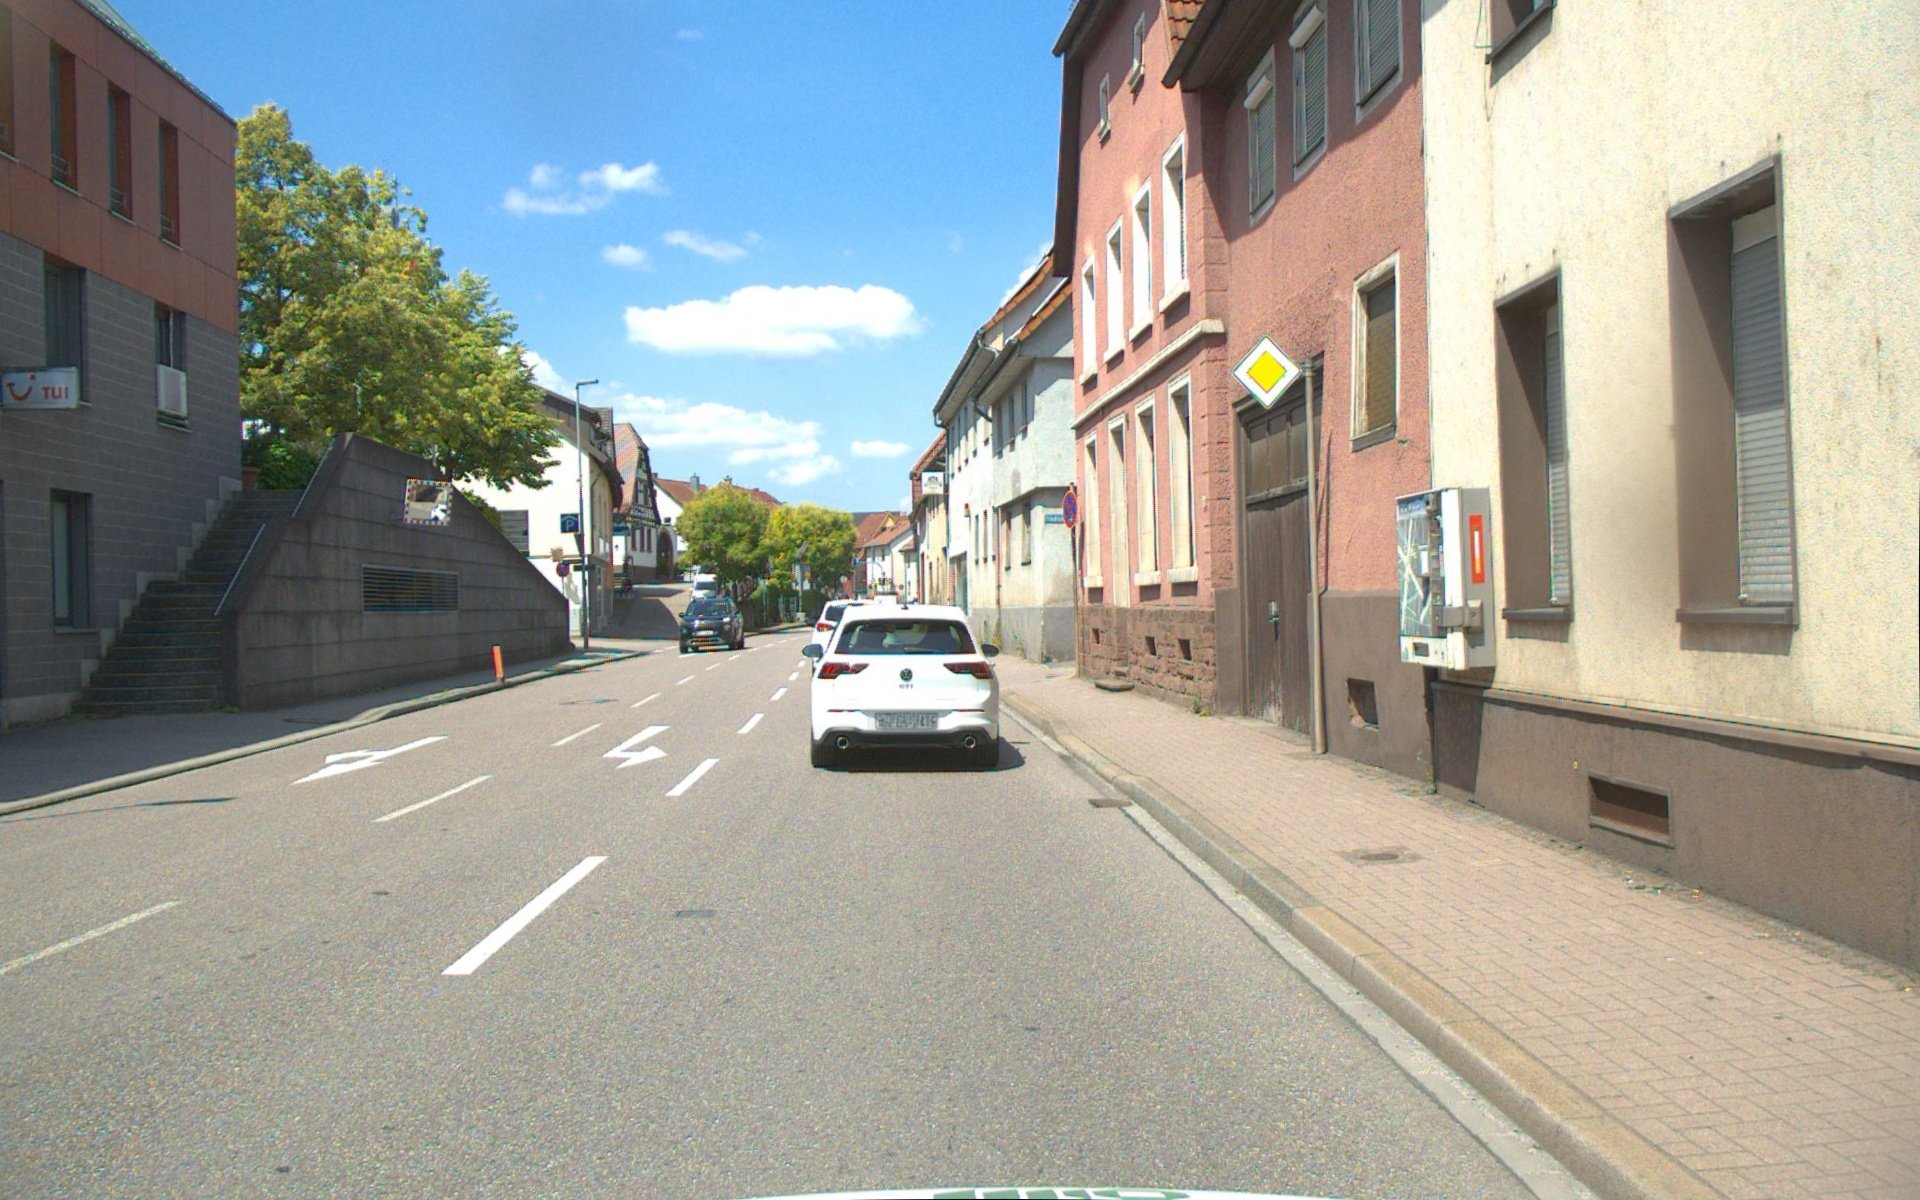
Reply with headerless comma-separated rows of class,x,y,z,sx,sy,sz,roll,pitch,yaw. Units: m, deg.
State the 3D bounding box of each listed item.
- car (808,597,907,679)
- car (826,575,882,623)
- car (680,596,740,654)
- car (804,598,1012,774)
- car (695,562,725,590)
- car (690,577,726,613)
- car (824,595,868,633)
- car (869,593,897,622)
car,-2.063,0.711,32.370,1.773,1.493,3.995,1,-1,-6
car,-3.544,-0.020,55.090,1.772,1.493,3.996,1,0,-5
car,-7.733,0.747,51.429,1.638,1.686,4.012,-1,0,-6
car,-0.431,0.757,16.252,1.770,1.493,4.000,1,0,0
car,-15.464,-1.504,102.471,1.546,1.385,3.854,-1,6,-5
car,-13.677,-0.280,89.991,1.660,1.569,3.854,-1,6,-5
car,-4.877,0.598,70.919,1.740,1.565,3.998,-1,0,-2
car,-5.056,0.484,109.212,1.739,1.796,3.999,-1,0,-1
